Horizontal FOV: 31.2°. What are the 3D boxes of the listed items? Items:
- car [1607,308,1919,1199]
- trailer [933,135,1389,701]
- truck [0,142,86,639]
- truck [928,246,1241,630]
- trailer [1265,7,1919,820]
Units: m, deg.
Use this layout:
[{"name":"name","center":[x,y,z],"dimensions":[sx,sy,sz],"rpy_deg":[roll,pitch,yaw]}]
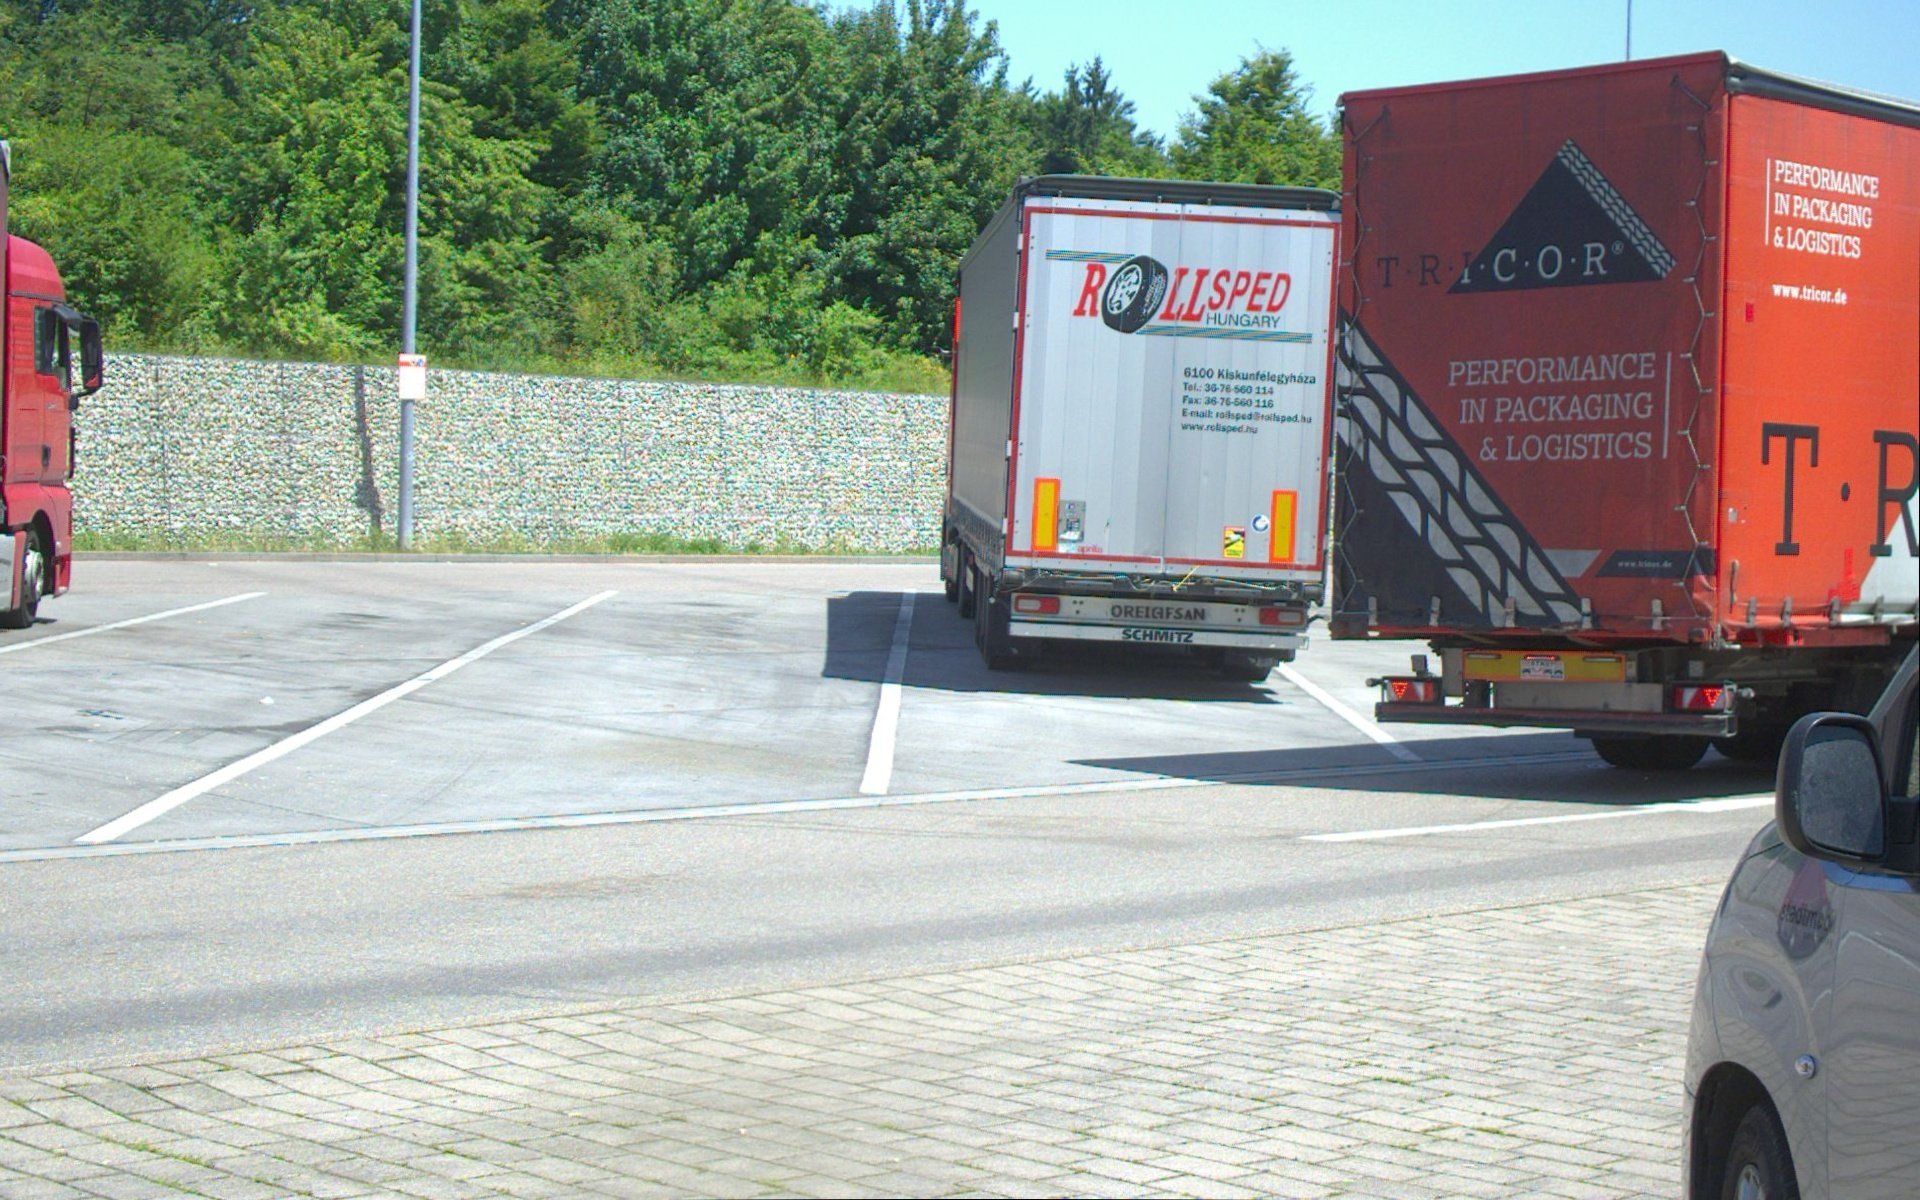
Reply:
[{"name":"car","center":[2.137,0.538,3.796],"dimensions":[1.825,1.747,4.001],"rpy_deg":[1,2,-4]},{"name":"trailer","center":[1.481,-1.702,32.639],"dimensions":[3.069,4.213,12.810],"rpy_deg":[2,3,-2]},{"name":"truck","center":[-9.229,-1.707,27.658],"dimensions":[2.743,4.067,6.830],"rpy_deg":[1,2,-1]},{"name":"truck","center":[1.266,-1.861,39.407],"dimensions":[3.026,3.915,6.847],"rpy_deg":[2,3,-2]},{"name":"trailer","center":[5.812,-1.081,22.079],"dimensions":[2.841,4.243,8.663],"rpy_deg":[2,3,44]}]
